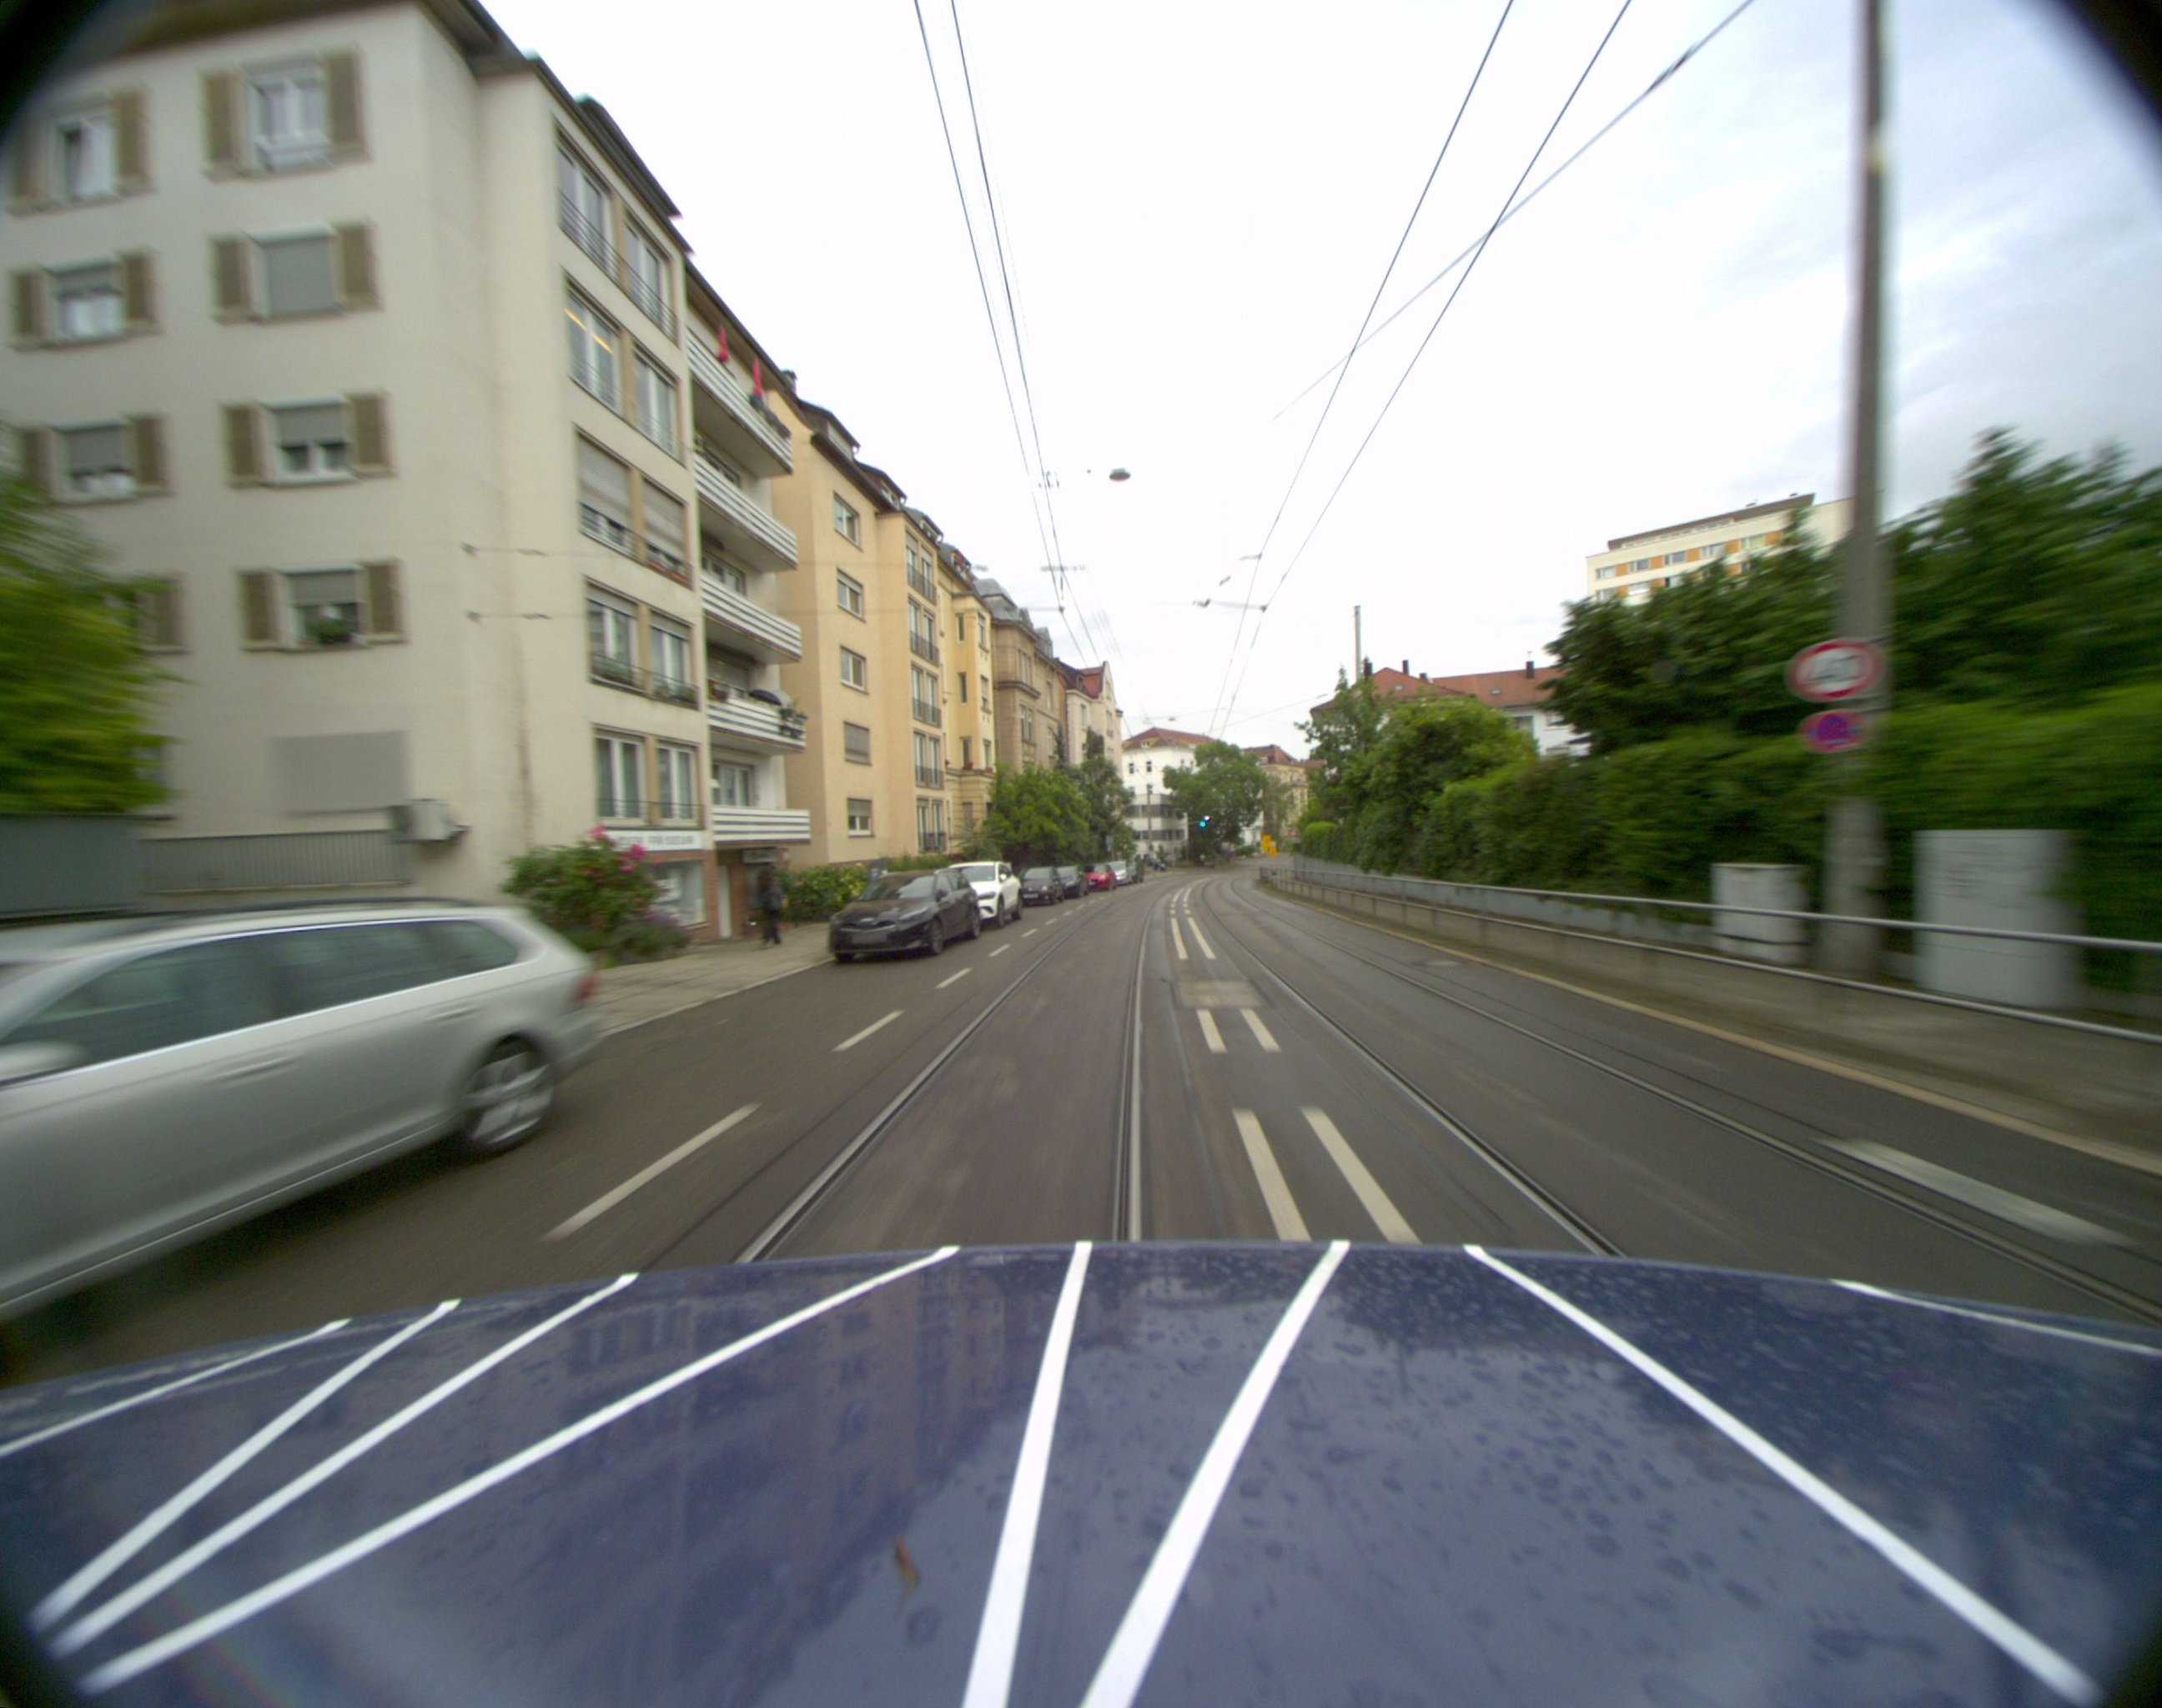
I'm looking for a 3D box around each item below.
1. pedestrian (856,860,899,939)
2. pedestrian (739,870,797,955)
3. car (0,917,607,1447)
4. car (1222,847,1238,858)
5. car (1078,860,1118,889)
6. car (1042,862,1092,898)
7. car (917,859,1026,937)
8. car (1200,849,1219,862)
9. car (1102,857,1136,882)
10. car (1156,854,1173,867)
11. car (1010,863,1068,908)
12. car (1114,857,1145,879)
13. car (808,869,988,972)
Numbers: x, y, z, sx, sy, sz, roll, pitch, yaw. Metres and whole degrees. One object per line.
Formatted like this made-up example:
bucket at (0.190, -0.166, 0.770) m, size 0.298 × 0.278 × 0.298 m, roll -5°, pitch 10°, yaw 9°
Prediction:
pedestrian at (-4.531, 0.994, 16.922) m, size 0.716 × 1.703 × 0.665 m, roll 0°, pitch 1°, yaw 8°
pedestrian at (-6.025, 1.109, 14.664) m, size 0.667 × 1.560 × 0.915 m, roll 0°, pitch 1°, yaw 8°
car at (-4.233, 1.177, 2.949) m, size 1.721 × 1.458 × 4.392 m, roll -3°, pitch -1°, yaw 4°
car at (23.536, -0.228, 119.877) m, size 1.796 × 1.501 × 4.005 m, roll -2°, pitch 1°, yaw 19°
car at (0.964, 1.071, 40.964) m, size 1.556 × 1.360 × 3.126 m, roll -4°, pitch 0°, yaw 12°
car at (-0.560, 1.106, 33.308) m, size 1.658 × 1.360 × 3.637 m, roll -4°, pitch 0°, yaw 6°
car at (-2.618, 1.017, 19.041) m, size 1.798 × 1.612 × 3.869 m, roll -4°, pitch 0°, yaw 5°
car at (17.059, 0.217, 100.545) m, size 1.796 × 1.501 × 4.005 m, roll -2°, pitch 1°, yaw 19°
car at (2.512, 1.012, 49.688) m, size 1.613 × 1.434 × 3.691 m, roll -4°, pitch 0°, yaw 12°
car at (10.112, 0.792, 92.083) m, size 1.613 × 1.434 × 3.691 m, roll -4°, pitch 0°, yaw 12°
car at (-1.519, 1.116, 28.334) m, size 1.590 × 1.434 × 3.477 m, roll -4°, pitch 0°, yaw 5°
car at (3.528, 0.972, 54.563) m, size 1.613 × 1.434 × 3.691 m, roll -4°, pitch 0°, yaw 12°
car at (-3.176, 1.113, 14.121) m, size 1.798 × 1.444 × 4.105 m, roll -4°, pitch 0°, yaw 7°
